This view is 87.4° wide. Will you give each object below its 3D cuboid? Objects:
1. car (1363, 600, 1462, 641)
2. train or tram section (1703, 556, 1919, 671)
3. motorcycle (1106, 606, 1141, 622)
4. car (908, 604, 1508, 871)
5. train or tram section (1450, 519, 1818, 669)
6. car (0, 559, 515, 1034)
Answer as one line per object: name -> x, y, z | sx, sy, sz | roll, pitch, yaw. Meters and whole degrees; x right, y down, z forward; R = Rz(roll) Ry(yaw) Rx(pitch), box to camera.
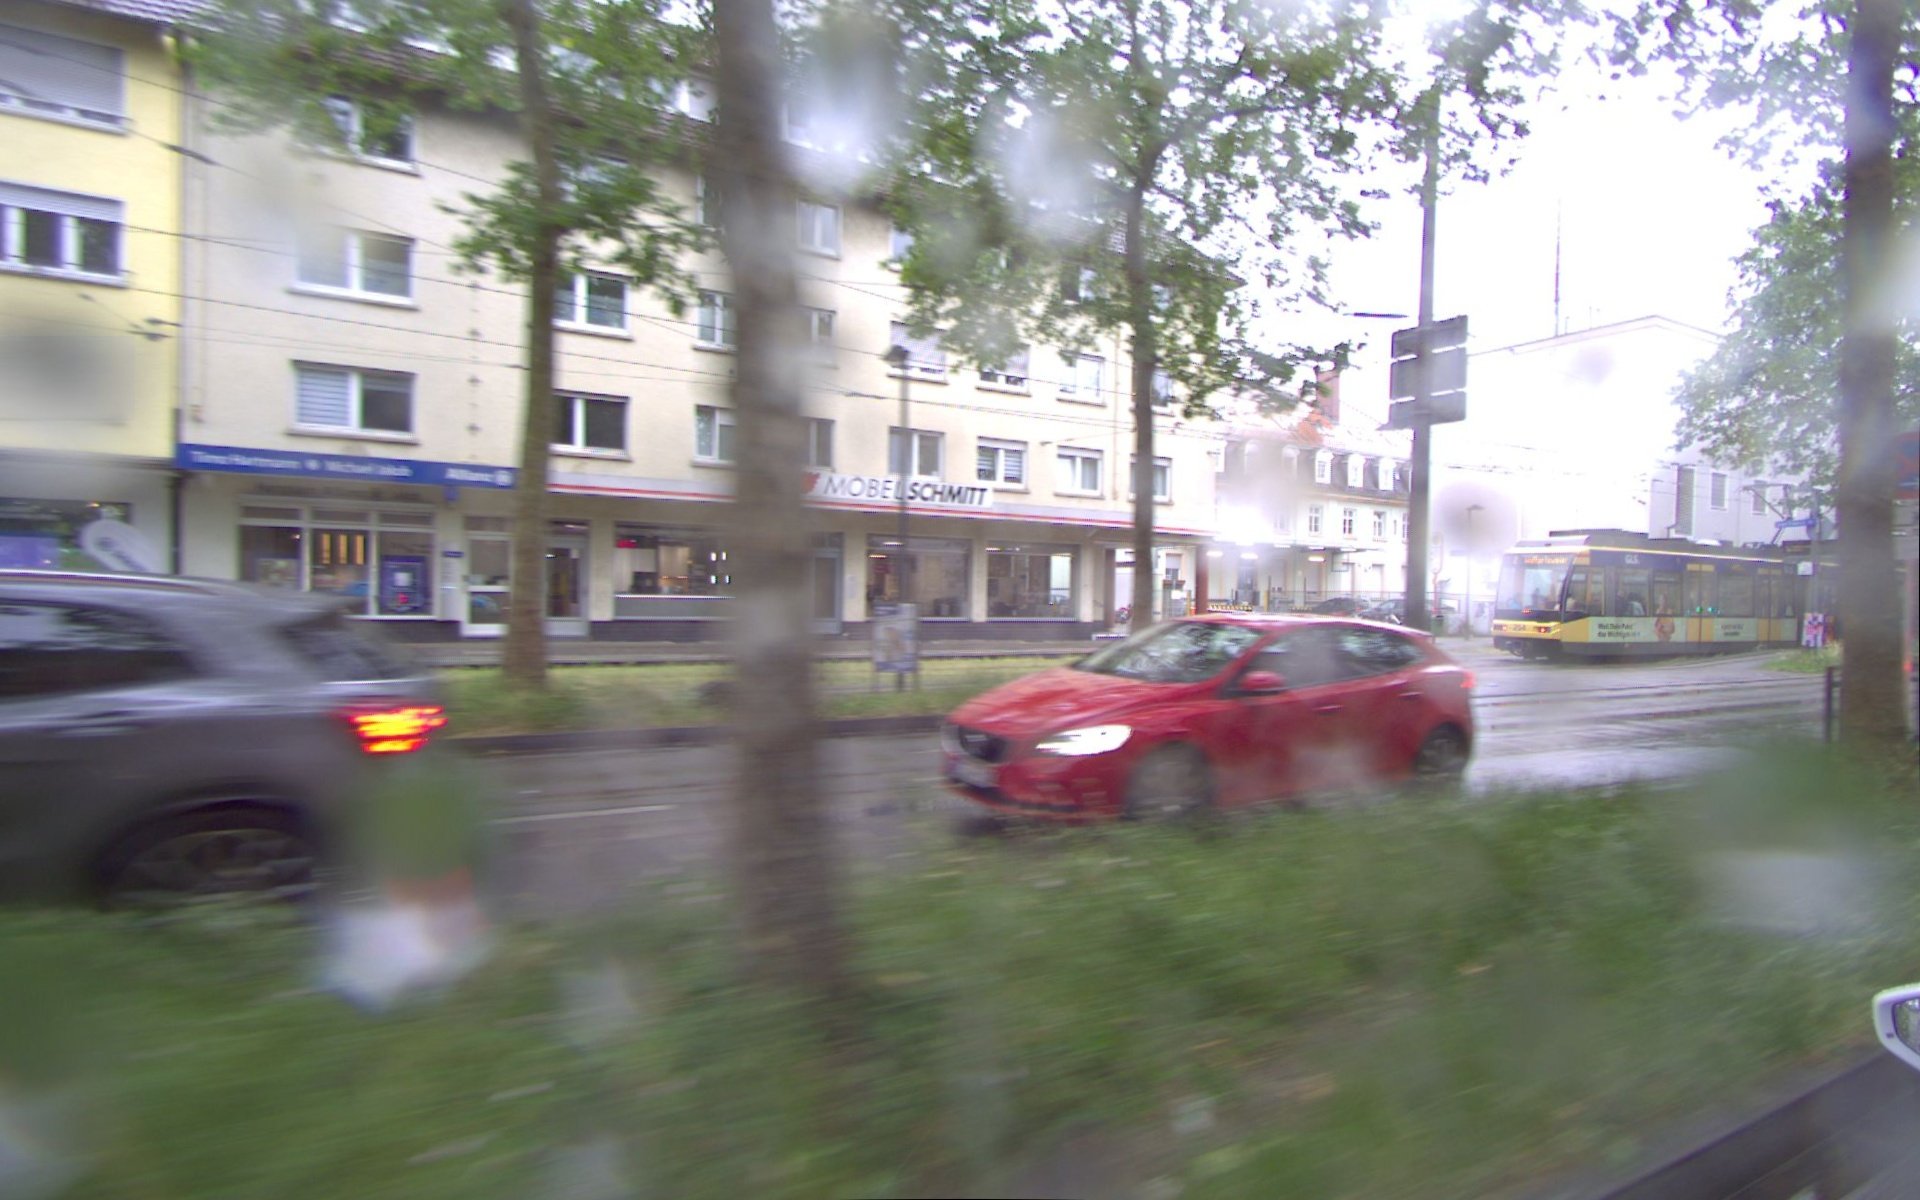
car -> 19.117, 0.848, 42.569 | 1.588, 1.562, 3.665 | 1, 1, -25
train or tram section -> 32.558, 0.683, 36.881 | 14.507, 3.605, 3.090 | 3, -1, -31
motorcycle -> 8.038, 0.681, 49.427 | 1.642, 0.719, 0.521 | 2, 0, -2
car -> 1.880, 0.778, 7.266 | 4.182, 1.416, 1.733 | 1, 1, -30
train or tram section -> 20.223, 0.097, 29.503 | 14.411, 3.605, 3.090 | 3, -1, -31
car -> -4.052, 0.597, 3.571 | 4.378, 1.500, 1.733 | 1, 1, -30
